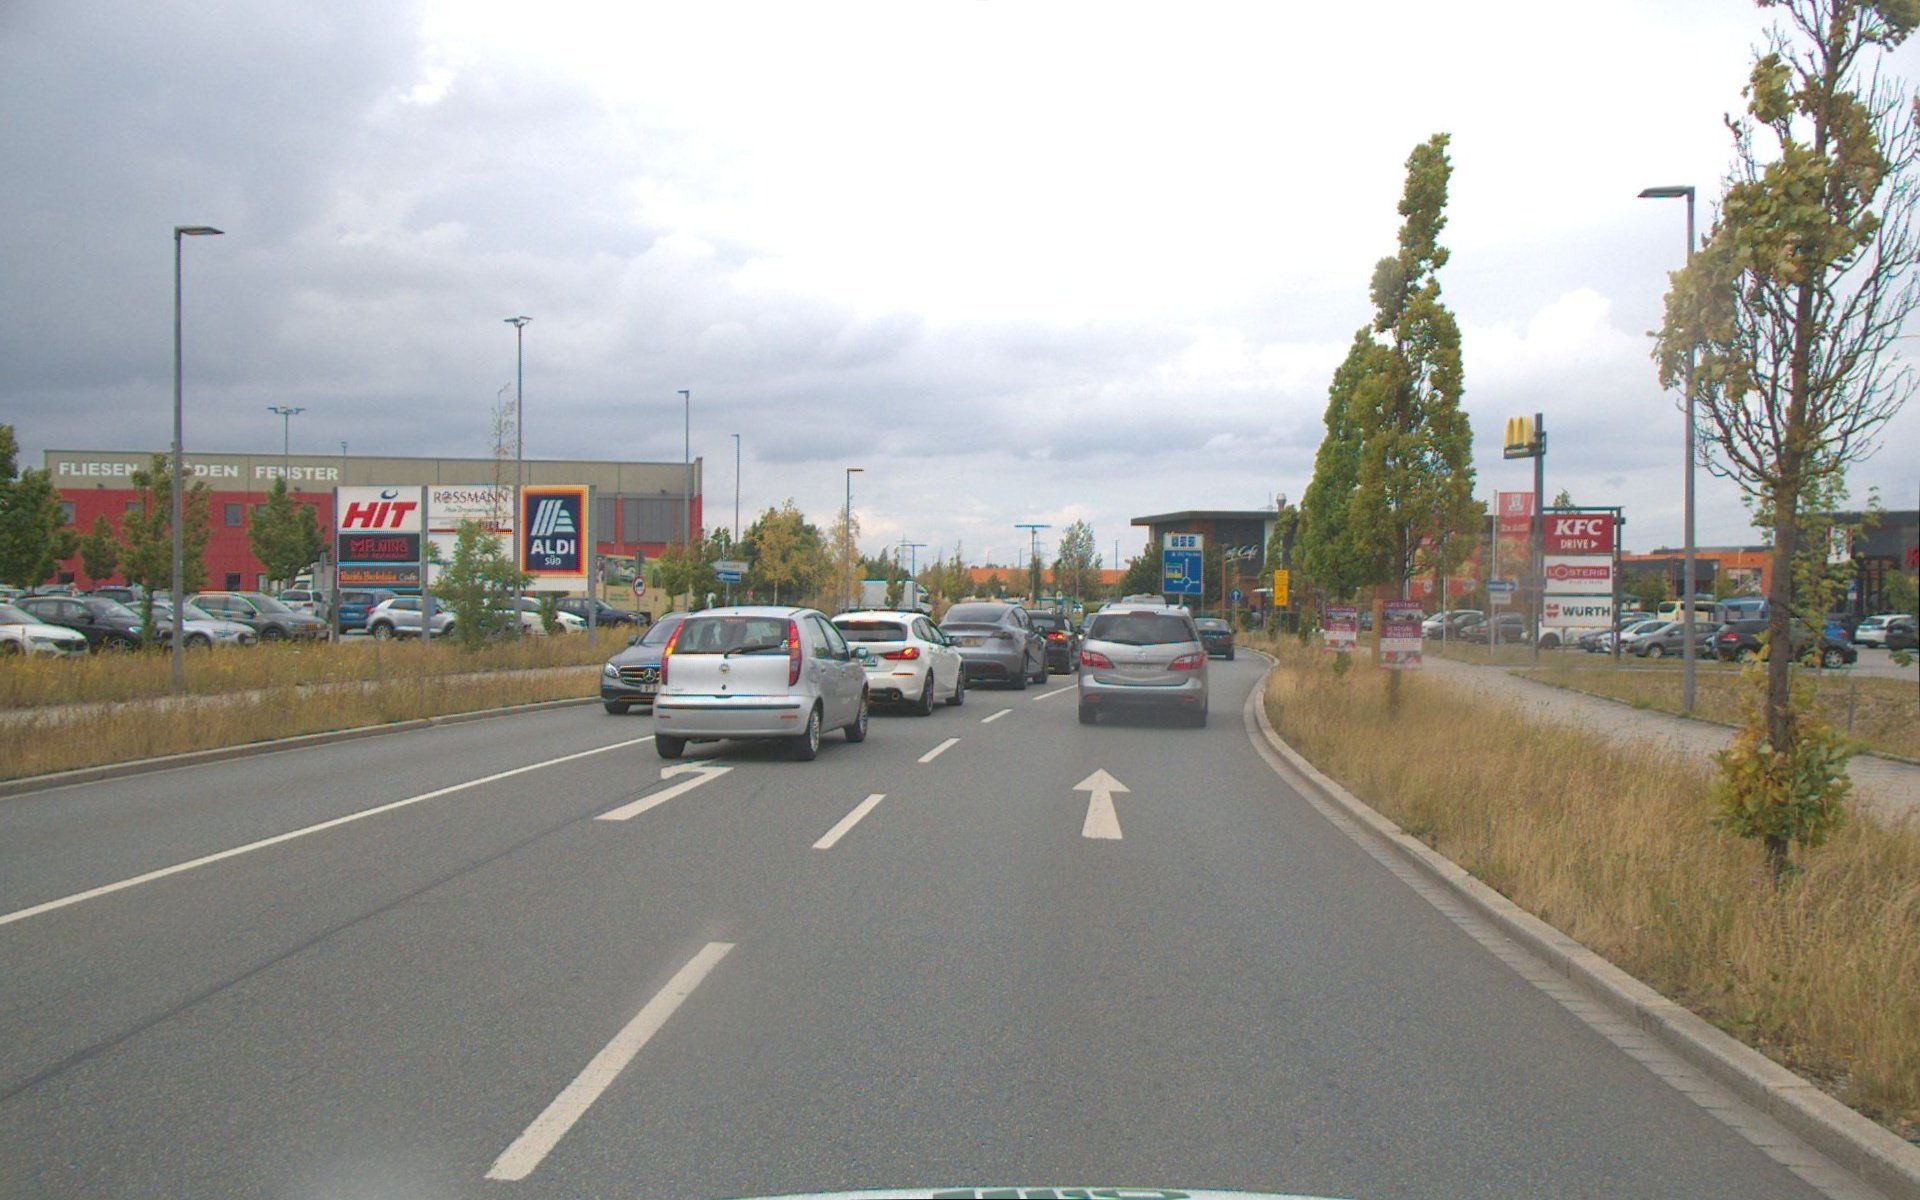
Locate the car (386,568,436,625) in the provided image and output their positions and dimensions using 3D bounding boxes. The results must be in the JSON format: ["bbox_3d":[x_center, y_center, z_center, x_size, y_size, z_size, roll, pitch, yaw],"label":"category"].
[{"bbox_3d":[-27.095,-0.173,81.721,2.024,2.737,5.125,0,0,-15],"label":"car"}]

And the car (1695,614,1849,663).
[{"bbox_3d":[26.774,1.248,54.658,4.171,1.546,1.967,0,0,9],"label":"car"}]

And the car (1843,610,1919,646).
[{"bbox_3d":[42.920,1.253,75.324,4.478,1.545,2.076,-1,0,-10],"label":"car"}]

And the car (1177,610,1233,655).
[{"bbox_3d":[8.284,1.068,55.866,1.805,1.443,4.228,0,0,8],"label":"car"}]

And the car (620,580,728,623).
[{"bbox_3d":[-16.301,0.079,94.307,5.958,2.347,2.205,1,-1,-10],"label":"car"}]

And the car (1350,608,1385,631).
[{"bbox_3d":[32.168,1.503,130.457,1.954,1.747,3.997,1,0,25],"label":"car"}]

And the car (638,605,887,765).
[{"bbox_3d":[-1.934,0.793,17.417,1.666,1.463,4.035,0,0,7],"label":"car"}]

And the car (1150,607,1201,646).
[{"bbox_3d":[10.845,1.312,83.411,2.016,1.858,4.786,1,-1,1],"label":"car"}]

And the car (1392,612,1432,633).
[{"bbox_3d":[29.450,1.441,107.771,1.776,1.336,3.845,0,0,27],"label":"car"}]

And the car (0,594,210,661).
[{"bbox_3d":[-20.667,0.639,39.782,4.272,1.531,2.242,0,0,10],"label":"car"}]

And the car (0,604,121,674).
[{"bbox_3d":[-21.080,0.828,36.468,4.226,1.482,2.012,0,0,9],"label":"car"}]

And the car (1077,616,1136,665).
[{"bbox_3d":[4.696,1.263,52.986,1.791,1.445,4.248,1,0,5],"label":"car"}]

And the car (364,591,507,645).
[{"bbox_3d":[-17.758,0.602,56.103,4.152,1.753,2.030,1,-1,6],"label":"car"}]

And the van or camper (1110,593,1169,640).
[{"bbox_3d":[10.186,0.933,94.313,2.258,2.550,5.198,1,0,-6],"label":"van or camper"}]

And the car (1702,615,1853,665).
[{"bbox_3d":[25.737,1.243,52.208,3.902,1.520,1.983,0,0,12],"label":"car"}]

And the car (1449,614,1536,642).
[{"bbox_3d":[28.660,1.478,89.071,4.006,1.463,1.940,0,0,-7],"label":"car"}]

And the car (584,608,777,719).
[{"bbox_3d":[-4.194,0.908,25.577,1.747,1.515,4.770,-1,0,5],"label":"car"}]

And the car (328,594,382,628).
[{"bbox_3d":[-29.562,0.532,80.910,1.958,1.635,3.988,0,0,-12],"label":"car"}]

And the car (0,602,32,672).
[{"bbox_3d":[-21.589,0.751,34.036,3.997,1.415,2.002,0,0,11],"label":"car"}]

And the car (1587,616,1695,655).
[{"bbox_3d":[28.447,1.475,69.177,3.780,1.507,1.903,-1,-1,5],"label":"car"}]

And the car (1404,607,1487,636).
[{"bbox_3d":[28.326,1.256,96.545,4.269,1.668,1.932,0,0,-11],"label":"car"}]

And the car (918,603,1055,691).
[{"bbox_3d":[0.607,0.859,32.497,1.951,1.588,4.617,0,0,11],"label":"car"}]

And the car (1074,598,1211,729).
[{"bbox_3d":[2.620,0.824,23.058,1.693,1.628,3.810,2,0,9],"label":"car"}]

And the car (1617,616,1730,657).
[{"bbox_3d":[27.752,1.406,64.409,3.678,1.520,1.891,0,0,7],"label":"car"}]

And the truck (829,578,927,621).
[{"bbox_3d":[-7.857,-0.028,158.377,9.133,3.975,3.137,0,-1,-9],"label":"truck"}]

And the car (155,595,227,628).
[{"bbox_3d":[-36.800,0.537,79.262,1.956,1.545,4.222,0,0,-8],"label":"car"}]

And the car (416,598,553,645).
[{"bbox_3d":[-16.819,0.754,58.613,4.151,1.540,2.048,1,0,10],"label":"car"}]

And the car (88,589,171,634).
[{"bbox_3d":[-31.072,0.412,62.016,1.815,1.635,3.988,0,0,-12],"label":"car"}]

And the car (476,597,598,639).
[{"bbox_3d":[-16.314,0.686,63.935,4.159,1.586,1.989,0,0,1],"label":"car"}]

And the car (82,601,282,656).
[{"bbox_3d":[-20.035,0.716,42.668,4.221,1.363,2.028,0,0,7],"label":"car"}]

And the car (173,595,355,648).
[{"bbox_3d":[-19.594,0.579,46.647,4.264,1.415,2.167,0,0,12],"label":"car"}]

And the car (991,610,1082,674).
[{"bbox_3d":[1.925,1.010,40.465,1.731,1.463,4.234,0,-1,9],"label":"car"}]

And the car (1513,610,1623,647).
[{"bbox_3d":[29.043,1.341,79.079,4.468,1.674,2.088,-1,0,0],"label":"car"}]

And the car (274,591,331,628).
[{"bbox_3d":[-32.092,0.465,80.815,1.958,1.759,3.988,0,0,-12],"label":"car"}]

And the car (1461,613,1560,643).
[{"bbox_3d":[28.638,1.453,86.117,4.429,1.494,2.030,0,0,-5],"label":"car"}]

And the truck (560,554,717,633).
[{"bbox_3d":[-15.478,-0.261,80.291,2.795,3.603,8.417,1,0,28],"label":"truck"}]

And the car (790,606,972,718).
[{"bbox_3d":[-1.056,0.861,24.462,1.840,1.494,4.196,0,-1,9],"label":"car"}]

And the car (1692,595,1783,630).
[{"bbox_3d":[58.848,0.919,125.187,5.930,2.573,2.271,0,0,38],"label":"car"}]

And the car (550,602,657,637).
[{"bbox_3d":[-15.375,0.825,71.473,4.143,1.460,1.999,0,0,4],"label":"car"}]

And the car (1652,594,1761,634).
[{"bbox_3d":[45.474,0.838,100.813,5.565,2.392,2.532,0,0,-7],"label":"car"}]
